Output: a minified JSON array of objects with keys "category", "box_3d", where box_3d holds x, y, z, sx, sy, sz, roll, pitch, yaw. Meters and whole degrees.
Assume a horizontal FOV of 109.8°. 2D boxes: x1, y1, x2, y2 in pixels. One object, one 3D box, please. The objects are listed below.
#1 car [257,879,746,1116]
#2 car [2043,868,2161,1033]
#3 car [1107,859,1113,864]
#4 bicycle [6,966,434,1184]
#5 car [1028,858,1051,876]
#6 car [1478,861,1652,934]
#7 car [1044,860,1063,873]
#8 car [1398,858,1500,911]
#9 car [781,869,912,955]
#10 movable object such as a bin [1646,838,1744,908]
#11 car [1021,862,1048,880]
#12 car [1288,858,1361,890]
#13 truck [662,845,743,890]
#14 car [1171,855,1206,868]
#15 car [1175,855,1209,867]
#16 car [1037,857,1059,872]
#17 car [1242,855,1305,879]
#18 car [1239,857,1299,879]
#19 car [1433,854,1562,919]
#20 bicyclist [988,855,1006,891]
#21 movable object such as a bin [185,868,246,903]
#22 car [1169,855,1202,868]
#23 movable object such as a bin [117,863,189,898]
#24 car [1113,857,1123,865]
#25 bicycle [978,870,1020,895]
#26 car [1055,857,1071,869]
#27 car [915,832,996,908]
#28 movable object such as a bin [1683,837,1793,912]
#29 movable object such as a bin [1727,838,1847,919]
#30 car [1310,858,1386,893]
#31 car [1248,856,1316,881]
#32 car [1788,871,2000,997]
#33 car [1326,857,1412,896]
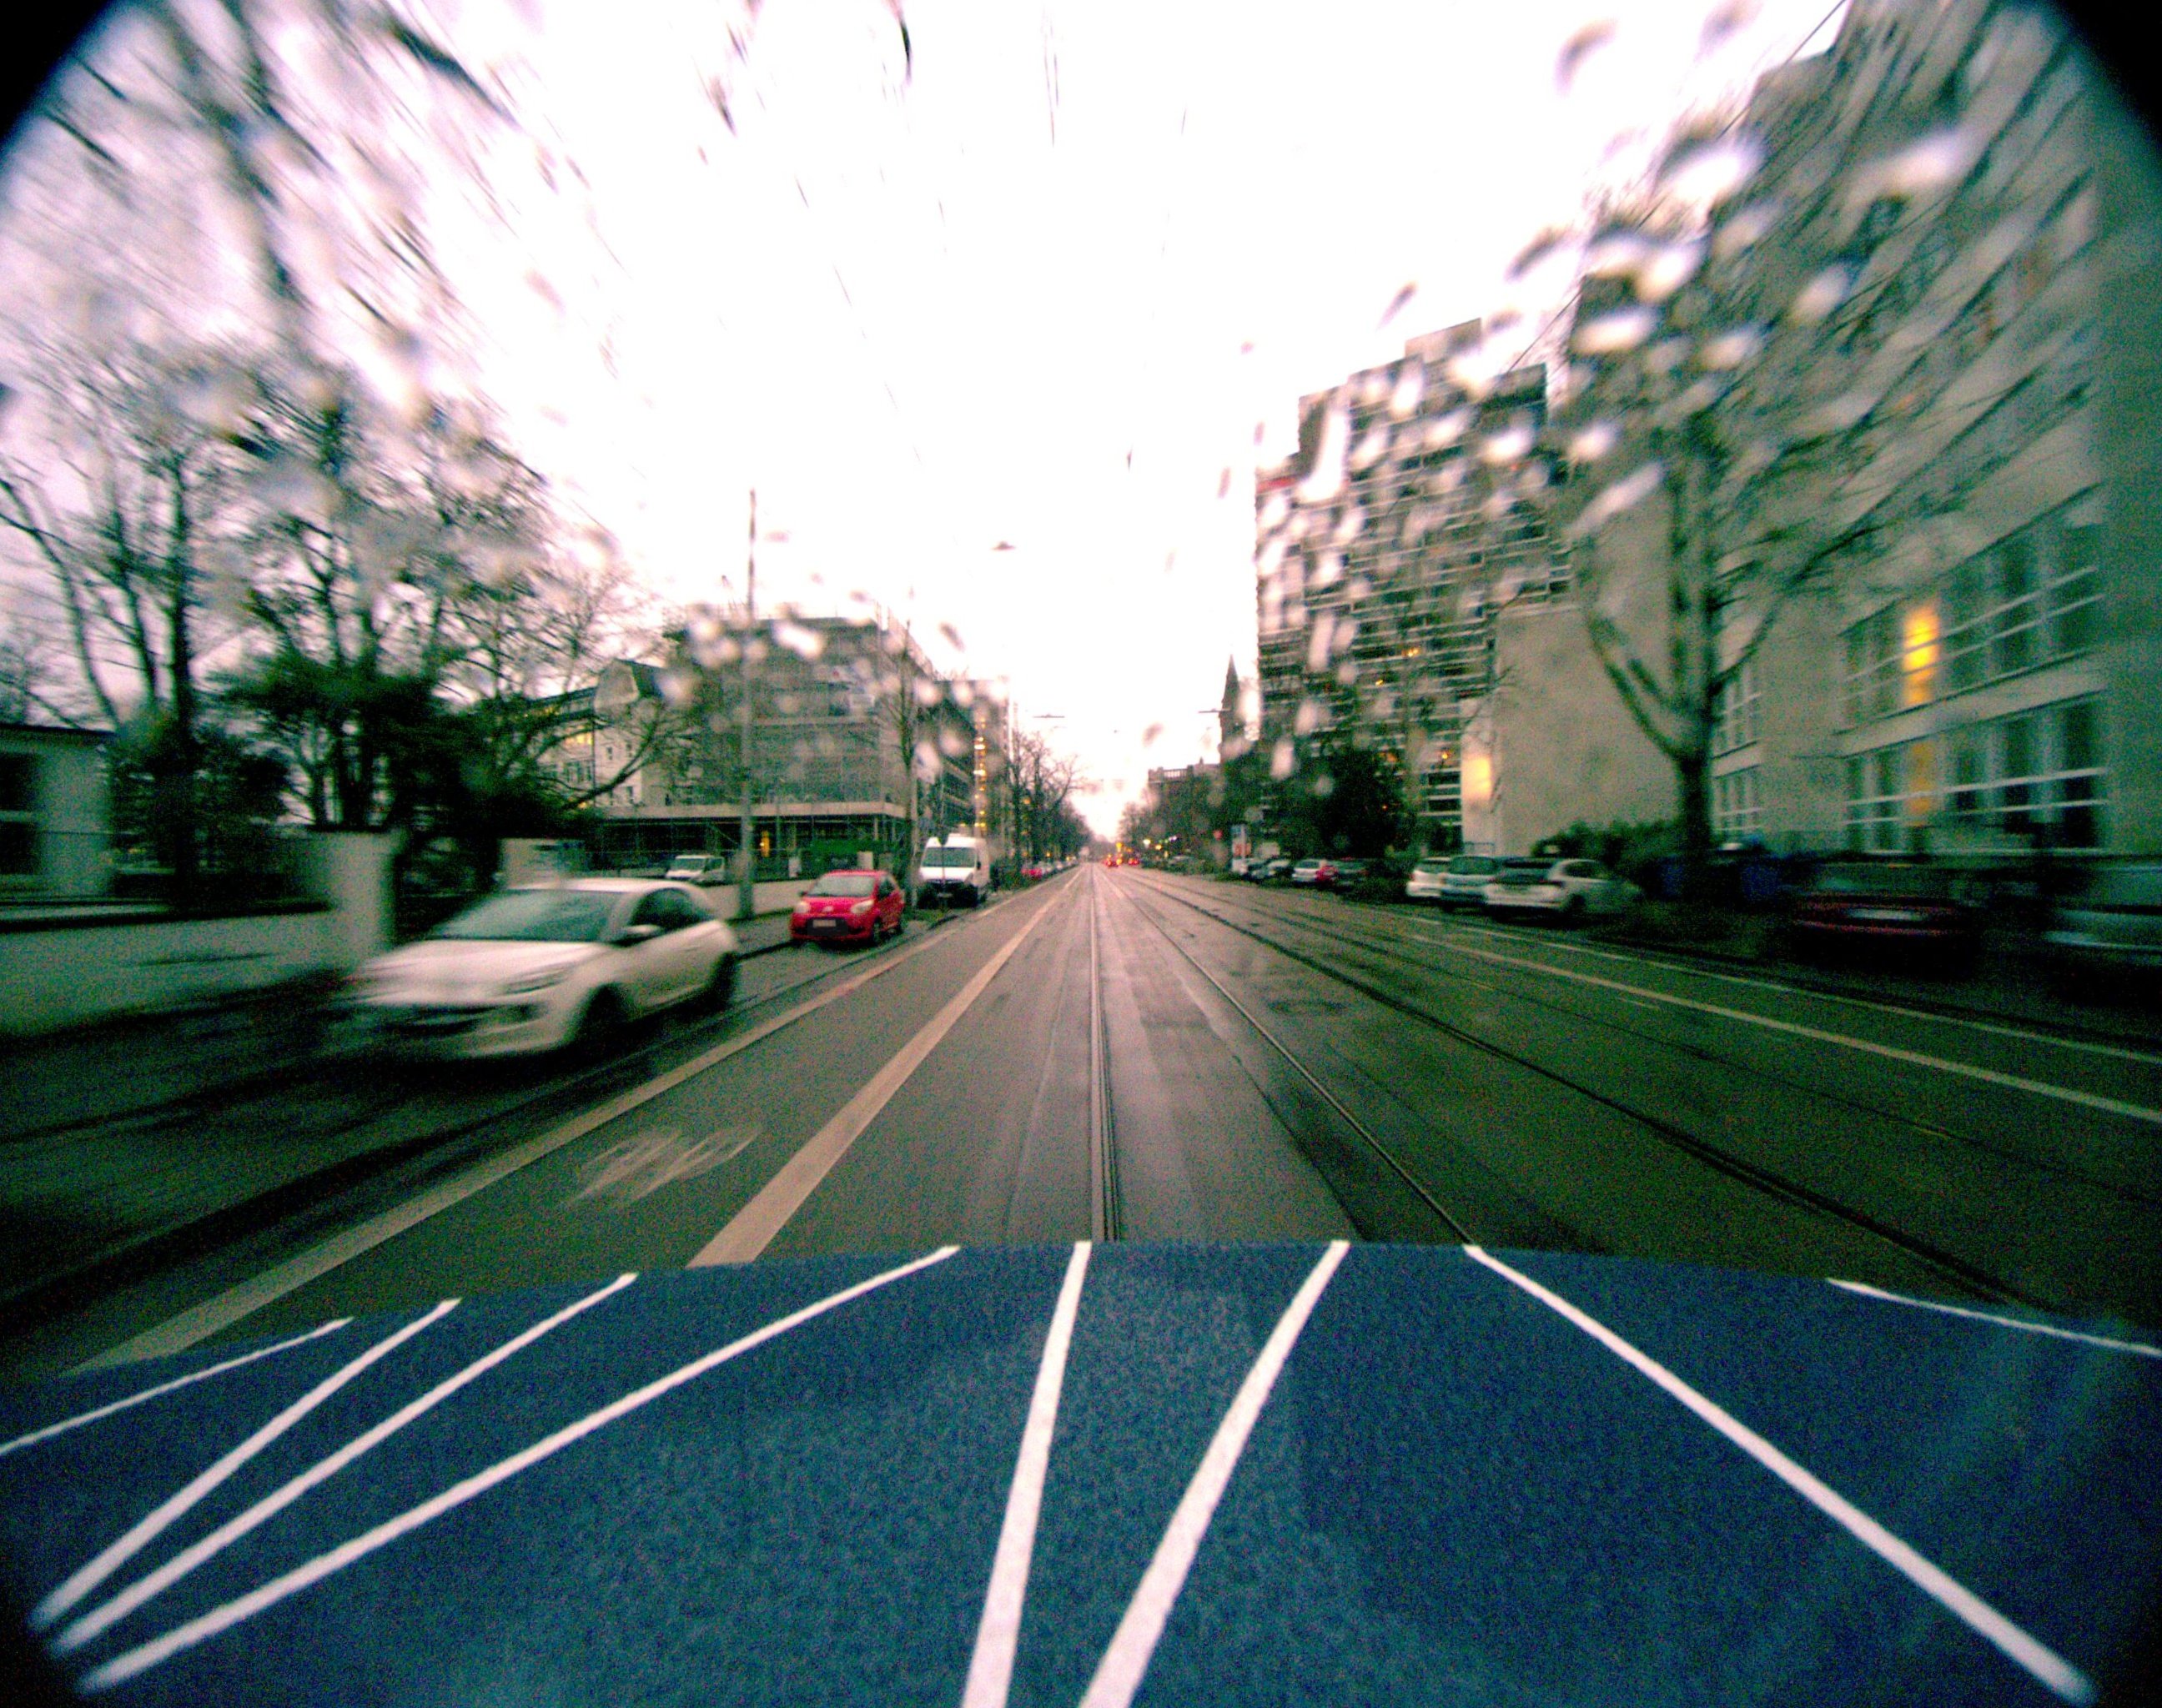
[{"category":"car","box_3d":[-4.724,1.032,6.966,1.696,1.511,3.637,0,-1,0]},{"category":"car","box_3d":[11.709,0.919,7.931,4.007,1.455,1.732,0,1,-34]},{"category":"car","box_3d":[8.395,2.230,219.285,1.765,1.402,4.001,0,-1,1]},{"category":"bicycle","box_3d":[-4.851,1.223,4.361,1.717,1.064,0.663,0,0,1]},{"category":"car","box_3d":[-3.816,1.184,70.029,1.753,1.574,3.737,0,-1,3]},{"category":"car","box_3d":[10.963,0.893,17.152,4.007,1.435,1.732,0,1,-32]},{"category":"car","box_3d":[-3.265,1.467,90.000,1.866,1.584,4.001,0,-1,3]},{"category":"car","box_3d":[11.865,0.919,24.390,3.885,1.542,1.688,0,-1,-44]},{"category":"car","box_3d":[-4.675,1.089,15.671,1.647,1.514,3.572,-1,-1,-2]},{"category":"movable object such as a bin","box_3d":[16.730,0.529,20.766,1.573,1.848,1.318,0,-1,2]},{"category":"car","box_3d":[-3.703,1.326,61.039,1.753,1.379,3.737,0,-1,3]},{"category":"car","box_3d":[11.974,0.950,37.274,4.009,1.437,1.788,0,-1,-45]},{"category":"truck","box_3d":[-23.284,0.720,47.145,2.132,2.573,7.076,0,1,-6]},{"category":"car","box_3d":[12.397,0.848,87.942,3.995,1.477,1.673,-1,0,7]},{"category":"car","box_3d":[13.352,0.843,91.586,3.995,1.477,1.673,-1,0,7]},{"category":"car","box_3d":[-3.494,1.119,80.793,1.866,1.584,4.001,0,-1,3]},{"category":"car","box_3d":[12.018,0.794,47.353,4.008,1.454,1.851,0,-1,-41]},{"category":"car","box_3d":[12.471,0.921,50.328,4.008,1.391,1.851,0,-1,-41]},{"category":"car","box_3d":[11.205,0.806,20.335,4.008,1.554,1.732,0,-1,-41]},{"category":"bicyclist","box_3d":[-3.968,0.905,35.943,0.771,1.679,0.706,0,0,-12]},{"category":"movable object such as a bin","box_3d":[-33.197,1.187,29.155,0.985,1.306,1.310,-1,0,24]},{"category":"car","box_3d":[13.039,0.913,94.656,3.995,1.630,2.001,-1,0,7]},{"category":"movable object such as a bin","box_3d":[-33.978,0.958,27.835,0.985,1.218,1.441,-1,-1,24]},{"category":"car","box_3d":[7.054,1.317,143.836,1.751,1.535,4.296,0,-1,2]},{"category":"bicycle","box_3d":[-3.889,1.330,35.966,1.895,1.126,0.730,0,0,-13]},{"category":"car","box_3d":[-2.349,1.242,100.919,1.866,1.584,4.001,0,-1,3]},{"category":"car","box_3d":[-4.419,0.562,27.617,2.130,2.472,5.438,0,-1,-2]},{"category":"movable object such as a bin","box_3d":[16.695,0.524,19.367,1.573,1.848,1.394,0,-1,2]},{"category":"movable object such as a bin","box_3d":[16.649,0.577,17.985,1.573,1.848,1.318,0,-1,2]},{"category":"car","box_3d":[12.049,0.923,34.225,3.458,1.484,1.725,0,-1,-41]},{"category":"car","box_3d":[11.534,0.811,43.488,4.008,1.370,1.851,0,-1,-41]},{"category":"car","box_3d":[11.303,0.967,10.845,1.745,1.344,4.357,1,0,43]},{"category":"car","box_3d":[11.706,0.876,30.747,3.862,1.484,1.691,0,-1,-43]}]
